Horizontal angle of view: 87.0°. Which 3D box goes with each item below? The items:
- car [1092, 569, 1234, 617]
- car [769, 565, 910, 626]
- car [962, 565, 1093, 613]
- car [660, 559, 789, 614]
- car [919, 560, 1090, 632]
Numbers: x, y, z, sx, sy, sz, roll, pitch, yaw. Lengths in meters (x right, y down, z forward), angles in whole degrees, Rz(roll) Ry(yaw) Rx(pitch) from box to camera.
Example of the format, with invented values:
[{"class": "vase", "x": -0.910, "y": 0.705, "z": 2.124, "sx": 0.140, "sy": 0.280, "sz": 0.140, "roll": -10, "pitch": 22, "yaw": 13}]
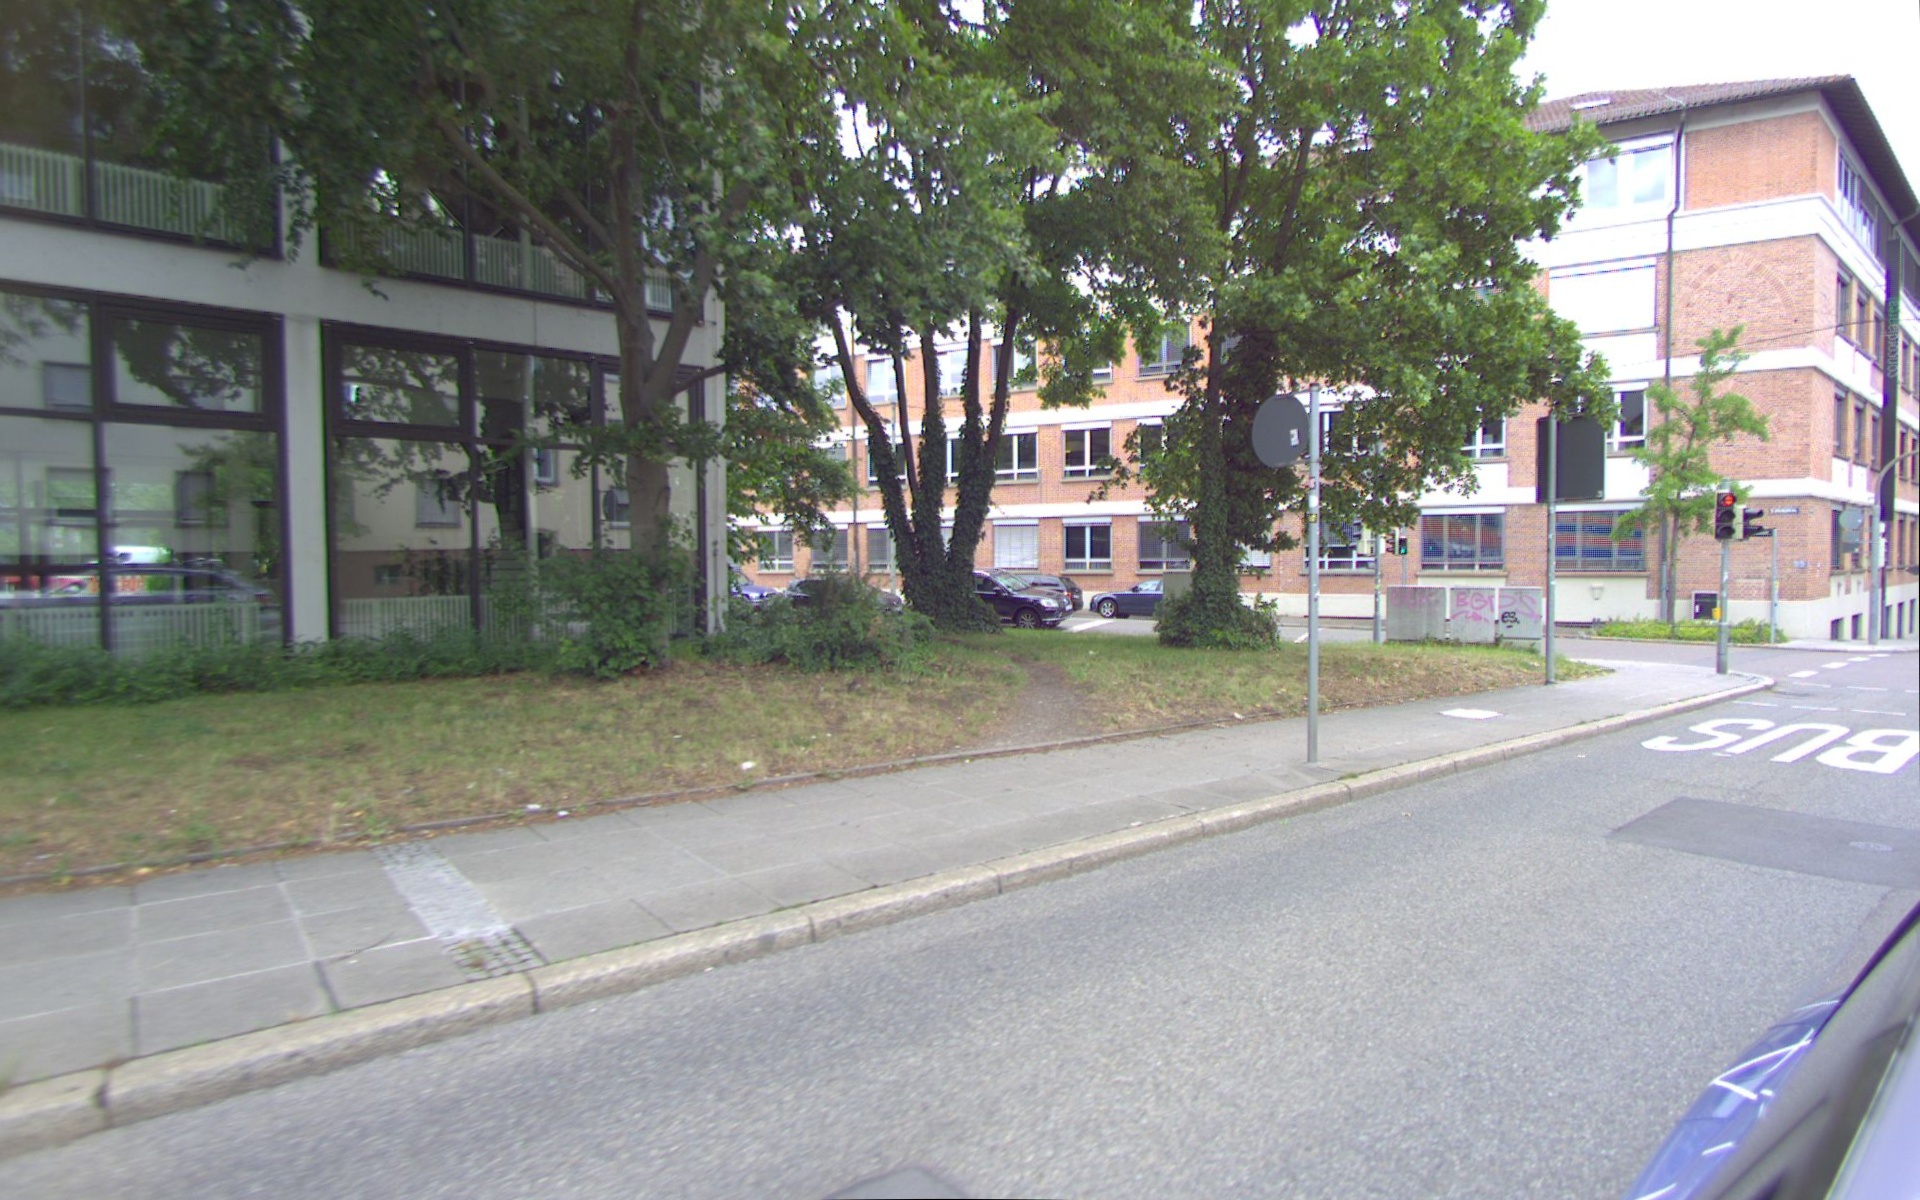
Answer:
[{"class": "car", "x": 6.883, "y": -0.251, "z": 34.418, "sx": 4.380, "sy": 1.423, "sz": 1.755, "roll": 2, "pitch": -1, "yaw": 28}, {"class": "car", "x": -3.868, "y": -0.195, "z": 32.319, "sx": 4.274, "sy": 1.627, "sz": 1.731, "roll": 2, "pitch": 7, "yaw": 30}, {"class": "car", "x": 2.438, "y": -0.408, "z": 36.787, "sx": 4.358, "sy": 1.528, "sz": 1.755, "roll": 2, "pitch": -1, "yaw": 28}, {"class": "car", "x": -8.106, "y": -0.512, "z": 34.745, "sx": 4.274, "sy": 1.627, "sz": 1.681, "roll": 2, "pitch": 7, "yaw": 30}, {"class": "car", "x": 1.285, "y": -0.188, "z": 29.479, "sx": 4.618, "sy": 1.746, "sz": 1.946, "roll": 2, "pitch": 7, "yaw": 30}]
